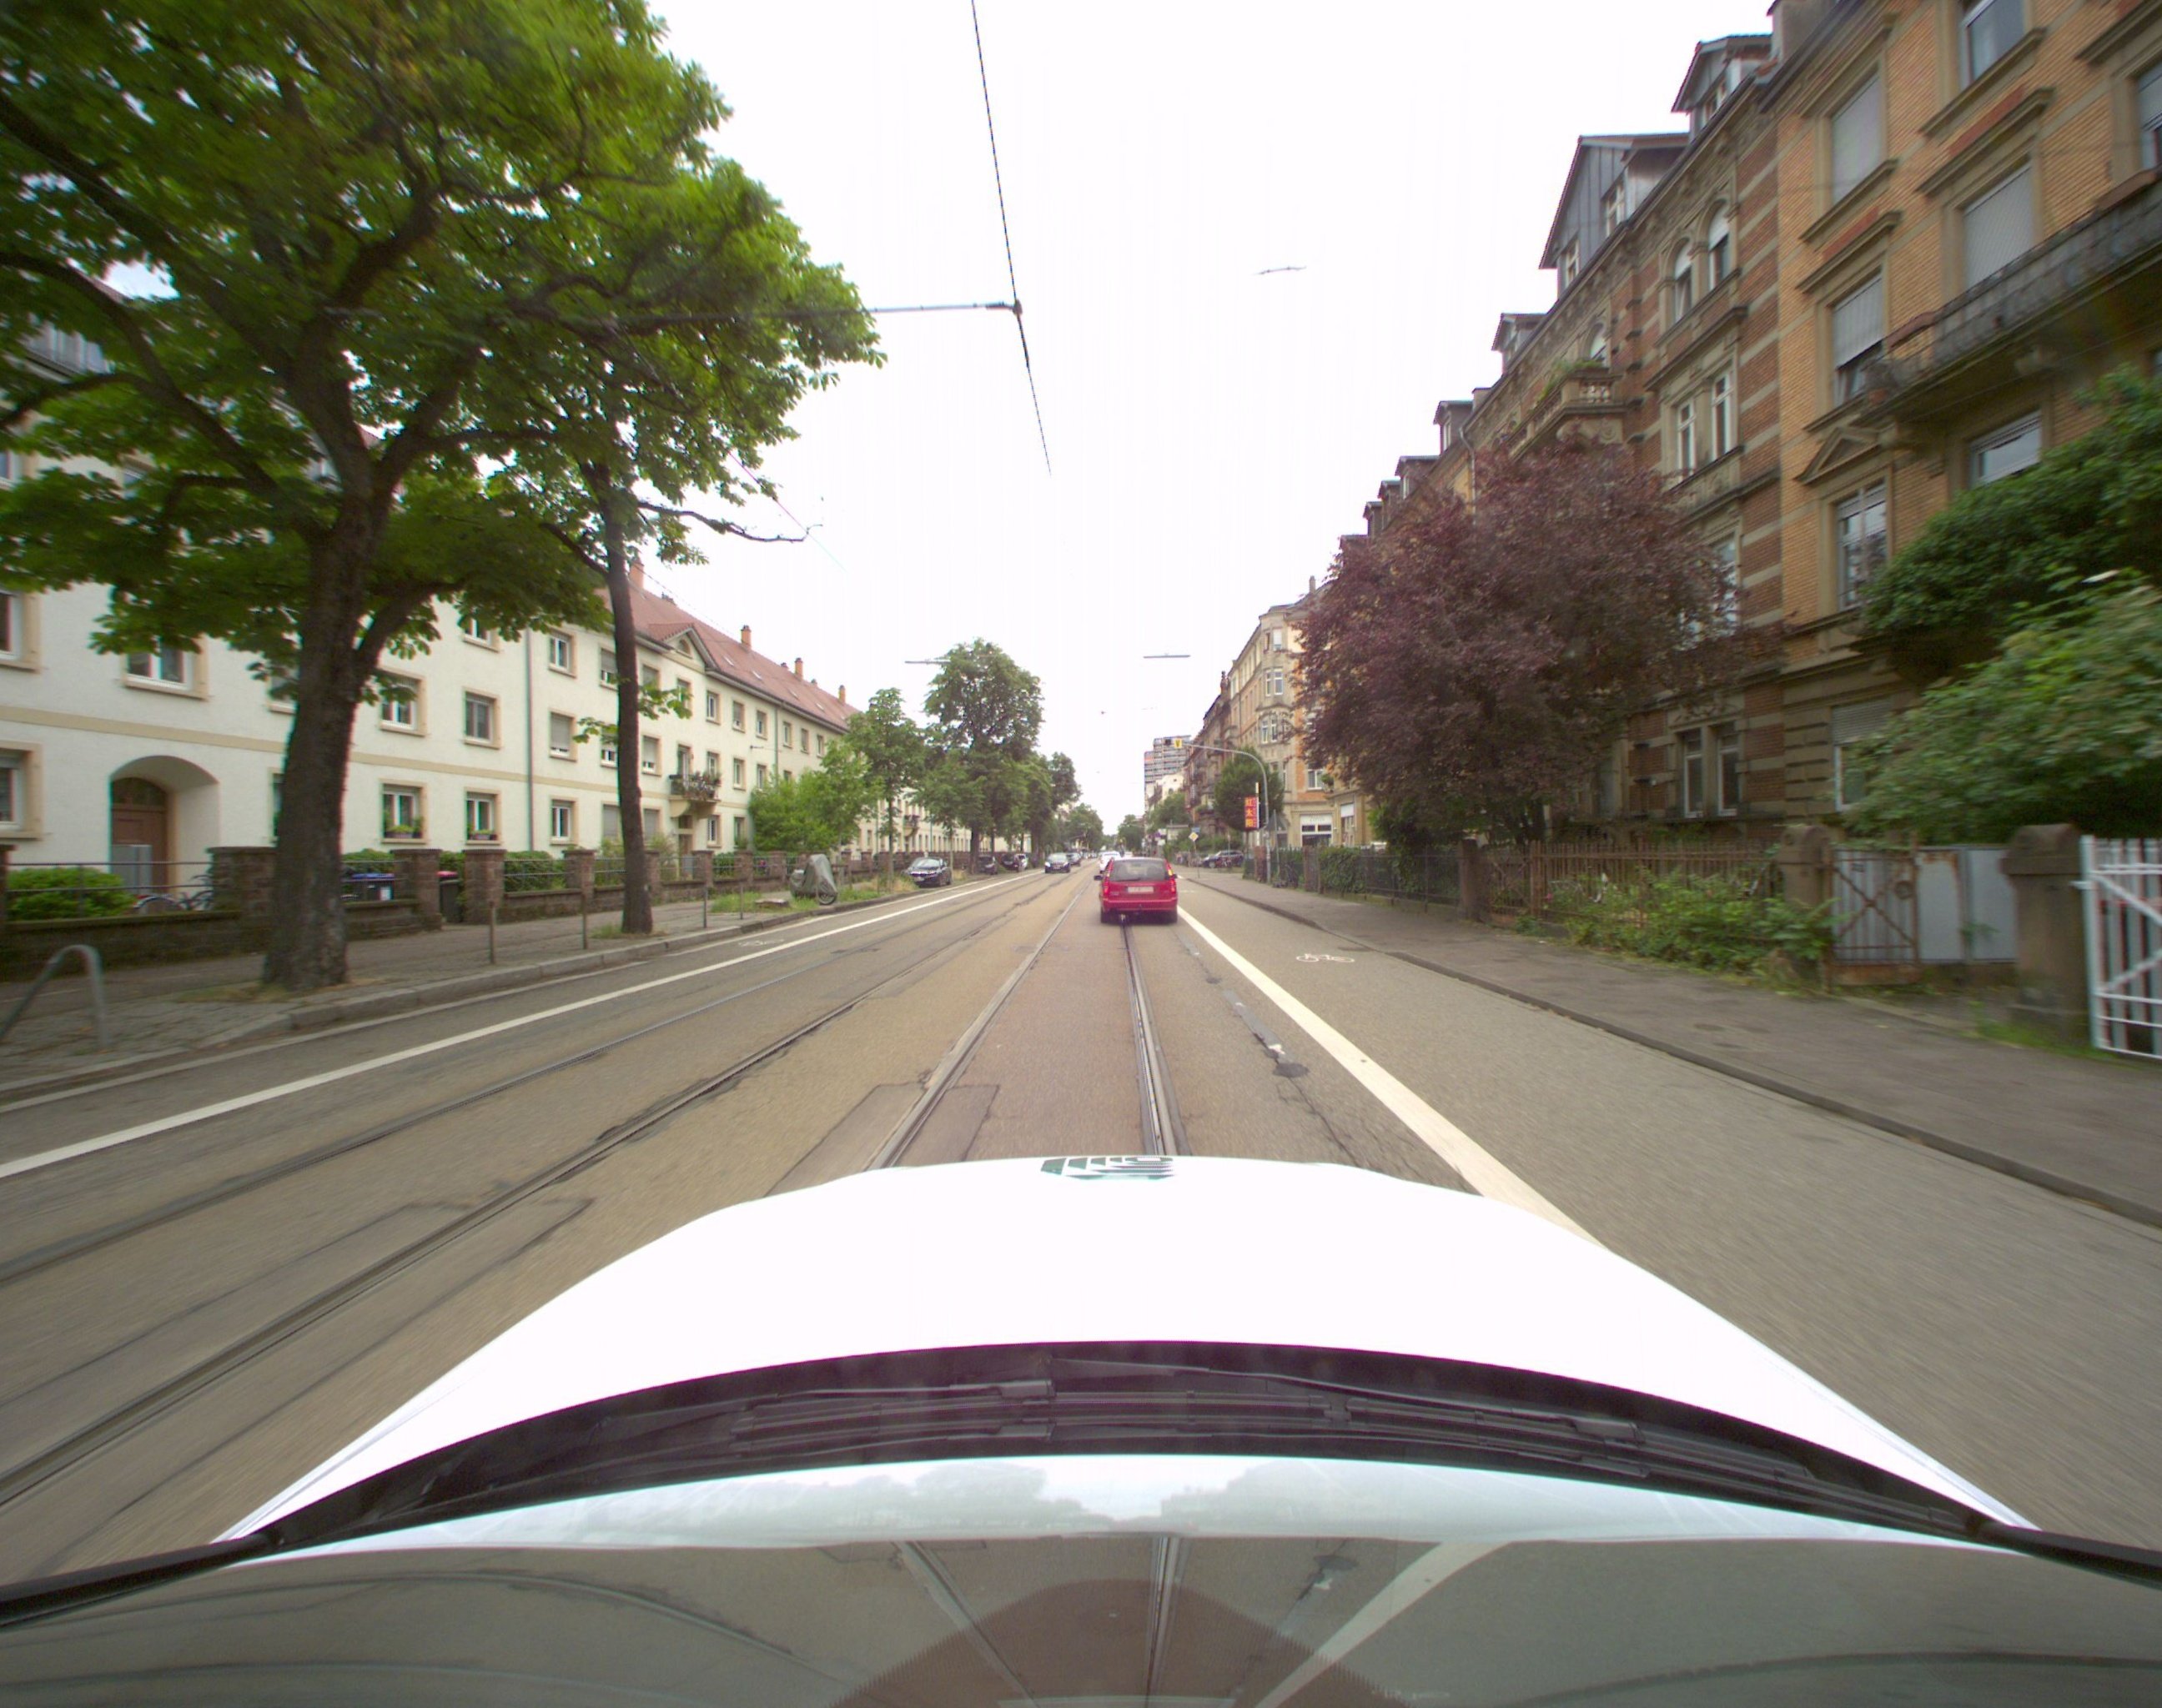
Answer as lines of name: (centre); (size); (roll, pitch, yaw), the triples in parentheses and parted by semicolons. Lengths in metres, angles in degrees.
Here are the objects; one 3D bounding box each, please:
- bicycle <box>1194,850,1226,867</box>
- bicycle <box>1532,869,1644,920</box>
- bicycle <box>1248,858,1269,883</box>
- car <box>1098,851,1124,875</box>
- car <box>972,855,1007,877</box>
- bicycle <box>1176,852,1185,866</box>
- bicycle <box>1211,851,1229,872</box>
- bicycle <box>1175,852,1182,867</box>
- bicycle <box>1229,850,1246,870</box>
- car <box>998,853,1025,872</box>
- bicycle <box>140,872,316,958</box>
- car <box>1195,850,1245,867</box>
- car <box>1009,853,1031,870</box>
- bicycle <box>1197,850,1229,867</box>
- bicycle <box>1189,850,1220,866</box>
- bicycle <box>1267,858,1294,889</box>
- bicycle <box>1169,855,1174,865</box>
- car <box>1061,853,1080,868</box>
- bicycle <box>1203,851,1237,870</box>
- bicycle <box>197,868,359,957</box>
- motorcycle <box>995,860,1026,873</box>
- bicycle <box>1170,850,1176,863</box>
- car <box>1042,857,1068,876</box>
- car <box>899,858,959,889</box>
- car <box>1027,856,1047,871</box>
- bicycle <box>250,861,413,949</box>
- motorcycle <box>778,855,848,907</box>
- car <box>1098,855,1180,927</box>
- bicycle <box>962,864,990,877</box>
bicycle: (12.685, 0.397, 80.260); (2.966, 1.624, 1.049); (-1, 0, -1)
bicycle: (9.154, 0.724, 14.742); (1.607, 0.863, 0.556); (-2, 0, 9)
bicycle: (7.740, 0.721, 35.576); (0.521, 1.030, 2.177); (-1, 0, 2)
car: (2.155, 0.595, 57.637); (1.711, 1.624, 3.945); (-1, 0, 4)
car: (-6.376, 0.808, 56.948); (1.710, 1.482, 4.004); (-1, 0, 4)
bicycle: (9.540, 0.442, 78.148); (0.705, 1.300, 1.905); (-1, 0, 2)
bicycle: (10.539, 0.543, 61.618); (0.909, 1.507, 2.392); (0, 0, 19)
bicycle: (9.693, 0.552, 81.091); (0.549, 1.400, 1.735); (-1, 0, 2)
bicycle: (12.025, 0.471, 62.560); (0.909, 1.507, 2.392); (-1, 0, 19)
car: (-5.982, 0.739, 70.211); (1.844, 1.563, 3.945); (-1, 0, 2)
bicycle: (-14.659, 1.002, 14.103); (0.745, 1.298, 2.141); (-1, 0, 1)
car: (11.475, 0.379, 67.232); (3.960, 1.361, 1.899); (-1, 0, 12)
car: (-6.118, 0.746, 81.499); (1.706, 1.580, 4.002); (0, 0, 2)
bicycle: (12.799, 0.399, 78.991); (2.966, 1.624, 1.049); (-1, 0, -1)
bicycle: (12.390, 0.397, 81.626); (2.966, 1.624, 1.049); (-1, 0, -1)
bicycle: (7.478, 0.716, 30.623); (0.521, 1.099, 2.177); (-1, 0, 2)
bicycle: (9.620, 0.619, 86.614); (0.488, 1.099, 1.735); (-1, 0, 2)
car: (-1.109, 0.681, 88.620); (1.887, 1.611, 4.502); (-1, 0, 2)
bicycle: (12.704, 0.591, 74.475); (2.966, 1.624, 1.049); (-1, 0, -1)
bicycle: (-13.900, 0.955, 14.203); (0.625, 1.382, 2.142); (-1, 0, 2)
motorcycle: (-6.593, 1.179, 76.254); (2.865, 1.077, 1.098); (-1, 0, -5)
bicycle: (10.278, 0.240, 90.931); (0.553, 1.458, 2.988); (-1, 0, 3)
car: (-1.931, 0.929, 61.661); (1.749, 1.380, 4.028); (-1, 0, 1)
car: (-7.414, 0.923, 40.237); (1.882, 1.398, 4.420); (-1, 0, 3)
car: (-4.571, 0.949, 85.682); (1.713, 1.486, 4.002); (-1, 0, 2)
bicycle: (-13.054, 0.840, 14.301); (0.789, 1.382, 2.142); (-1, 0, 2)
motorcycle: (-8.247, 0.815, 25.041); (2.243, 1.511, 0.932); (-1, -2, 37)
car: (1.258, 0.753, 18.567); (1.682, 1.441, 3.745); (0, 0, 2)
bicycle: (-7.115, 1.104, 55.279); (1.741, 0.844, 0.684); (-1, 0, 3)
